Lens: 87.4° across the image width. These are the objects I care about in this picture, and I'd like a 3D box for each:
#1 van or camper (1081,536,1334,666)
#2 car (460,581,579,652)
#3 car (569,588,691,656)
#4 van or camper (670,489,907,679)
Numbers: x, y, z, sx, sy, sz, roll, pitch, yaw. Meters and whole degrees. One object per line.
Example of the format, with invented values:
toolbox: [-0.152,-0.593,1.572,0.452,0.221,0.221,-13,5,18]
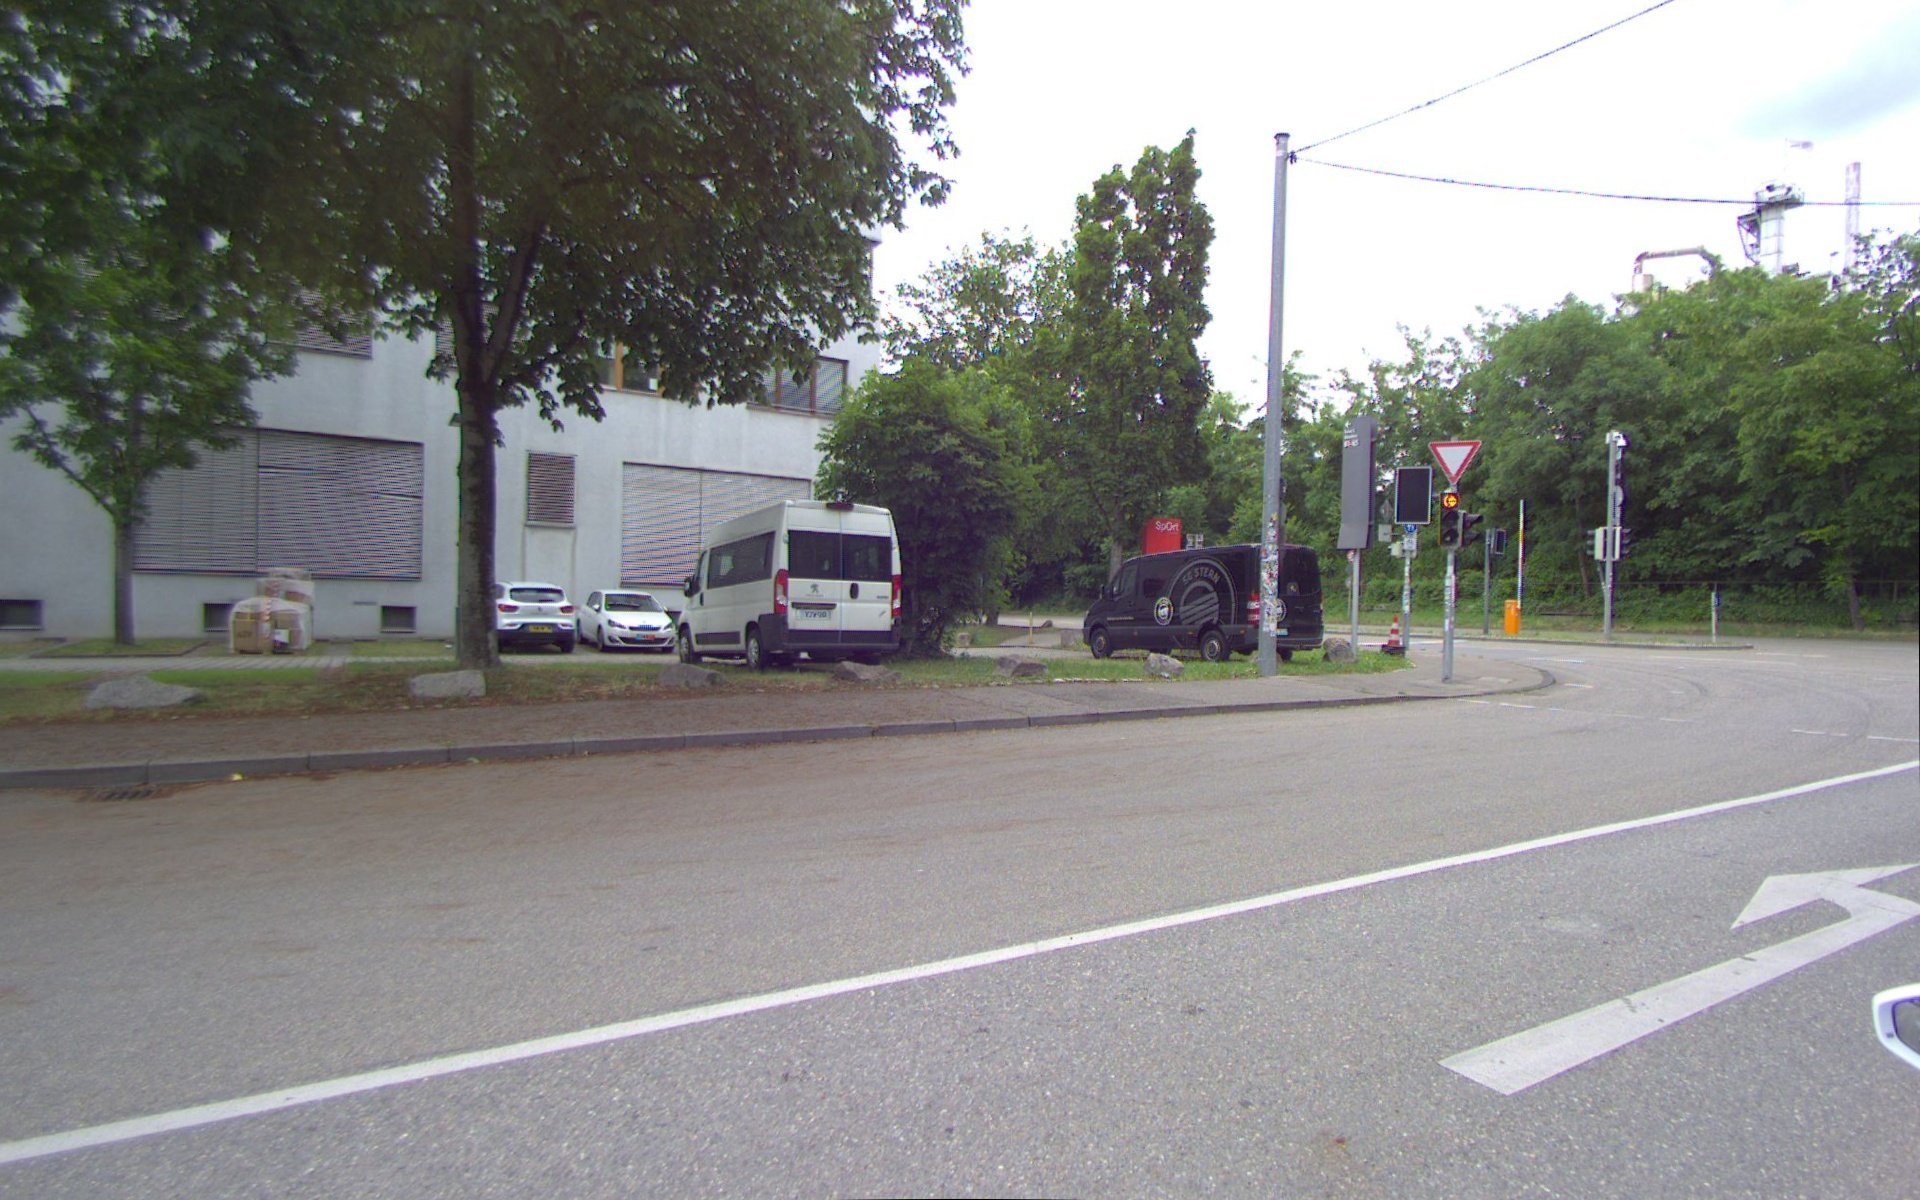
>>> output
van or camper: [5.005,0.123,21.262,2.036,2.343,5.513,3,-3,-28]
car: [-10.579,0.357,23.981,1.881,1.475,3.972,3,0,-34]
car: [-8.482,0.525,25.601,1.881,1.475,3.972,3,0,-34]
van or camper: [-2.993,-0.241,16.450,2.039,2.604,4.943,3,0,-32]
